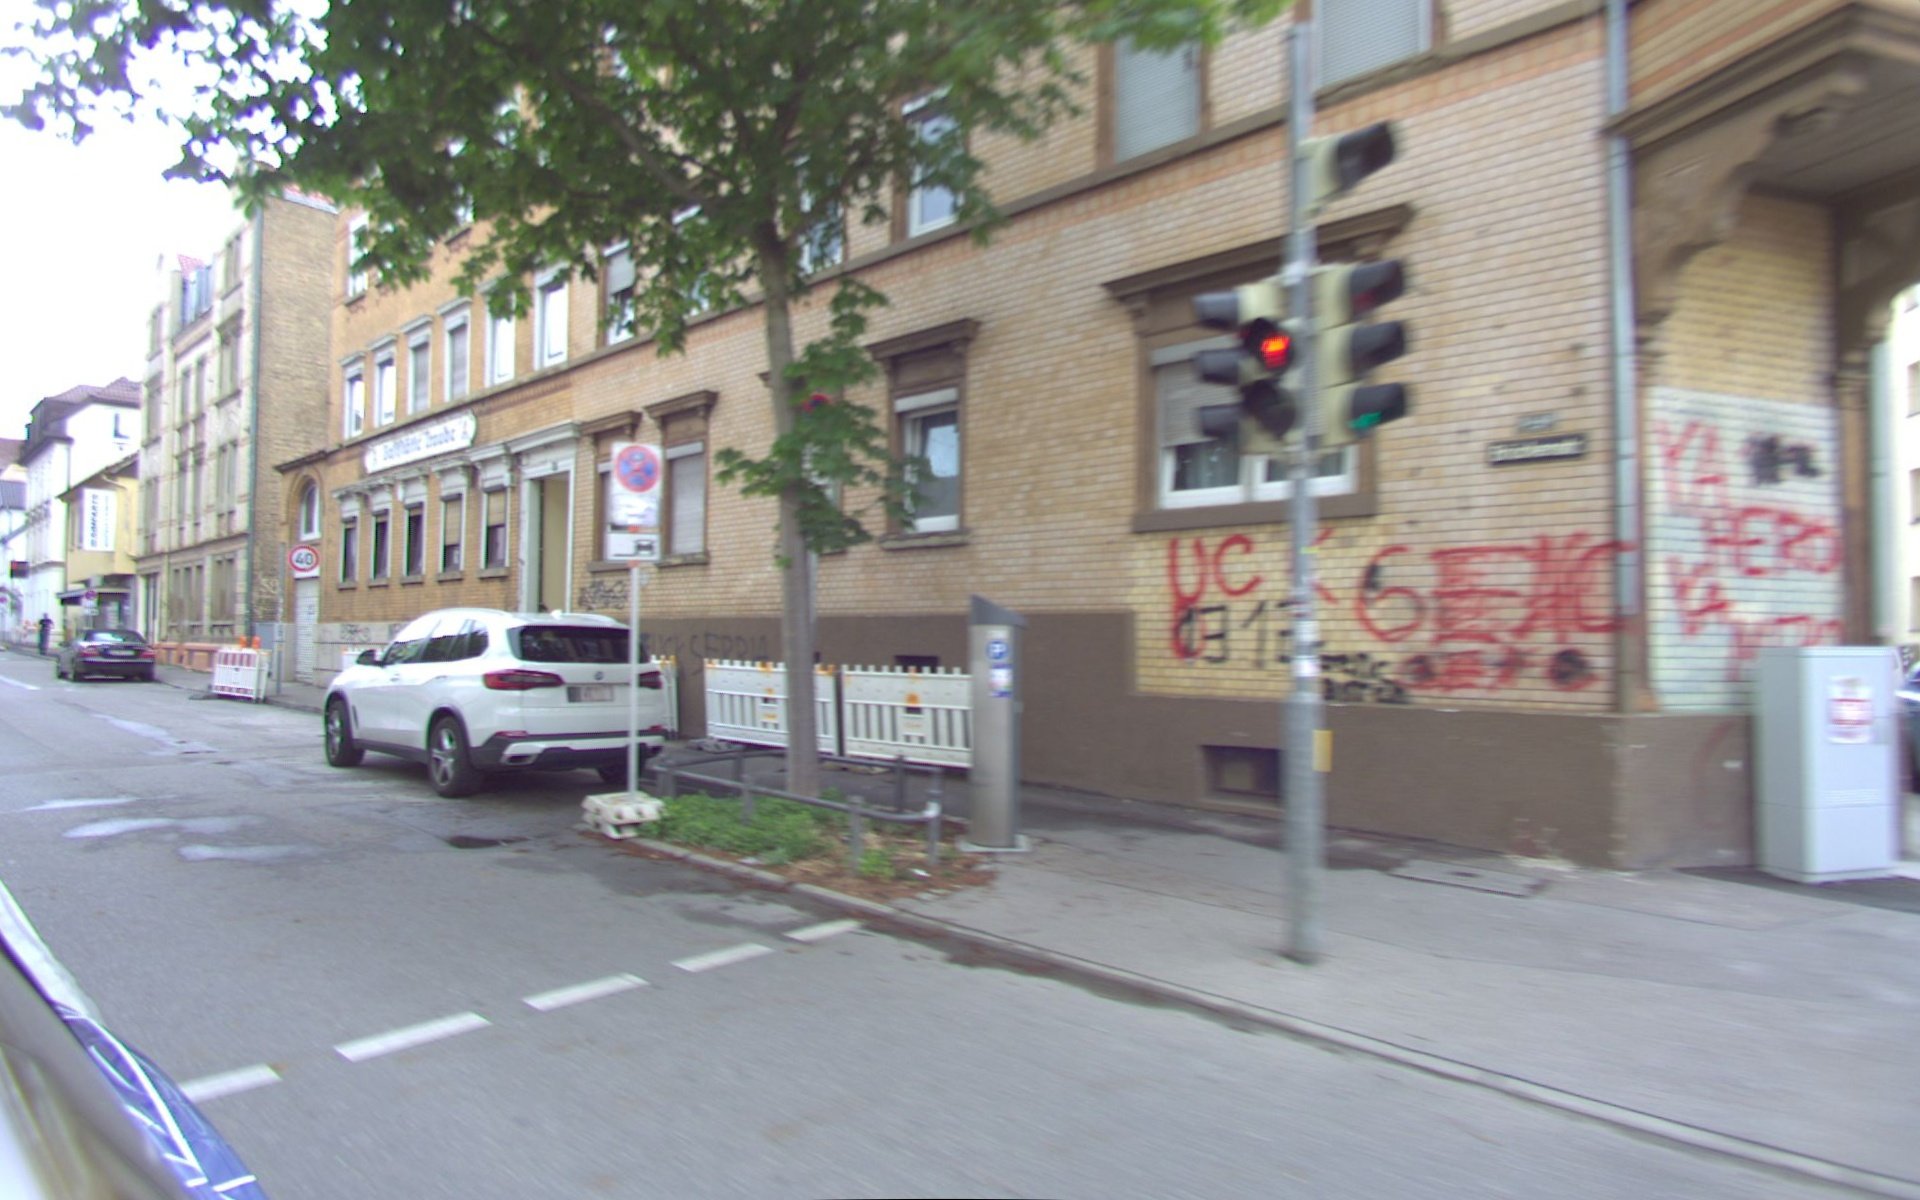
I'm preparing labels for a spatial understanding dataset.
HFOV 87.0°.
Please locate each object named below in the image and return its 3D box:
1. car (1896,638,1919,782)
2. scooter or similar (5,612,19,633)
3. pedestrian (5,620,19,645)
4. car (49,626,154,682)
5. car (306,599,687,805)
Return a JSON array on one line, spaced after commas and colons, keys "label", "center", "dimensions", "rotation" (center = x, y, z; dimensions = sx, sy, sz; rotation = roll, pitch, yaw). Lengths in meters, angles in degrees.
[{"label": "car", "center": [10.760, 1.148, 9.326], "dimensions": [1.762, 1.563, 3.698], "rotation": [0, -2, 19]}, {"label": "scooter or similar", "center": [-61.551, 1.453, 65.691], "dimensions": [1.227, 1.300, 0.554], "rotation": [0, -1, 41]}, {"label": "pedestrian", "center": [-61.554, 2.093, 65.681], "dimensions": [0.607, 1.578, 0.594], "rotation": [0, -1, 41]}, {"label": "car", "center": [-23.421, 1.440, 27.555], "dimensions": [4.353, 1.393, 1.562], "rotation": [-1, -4, 42]}, {"label": "car", "center": [-5.094, 0.934, 10.785], "dimensions": [4.739, 1.725, 1.871], "rotation": [-1, -4, 42]}]
